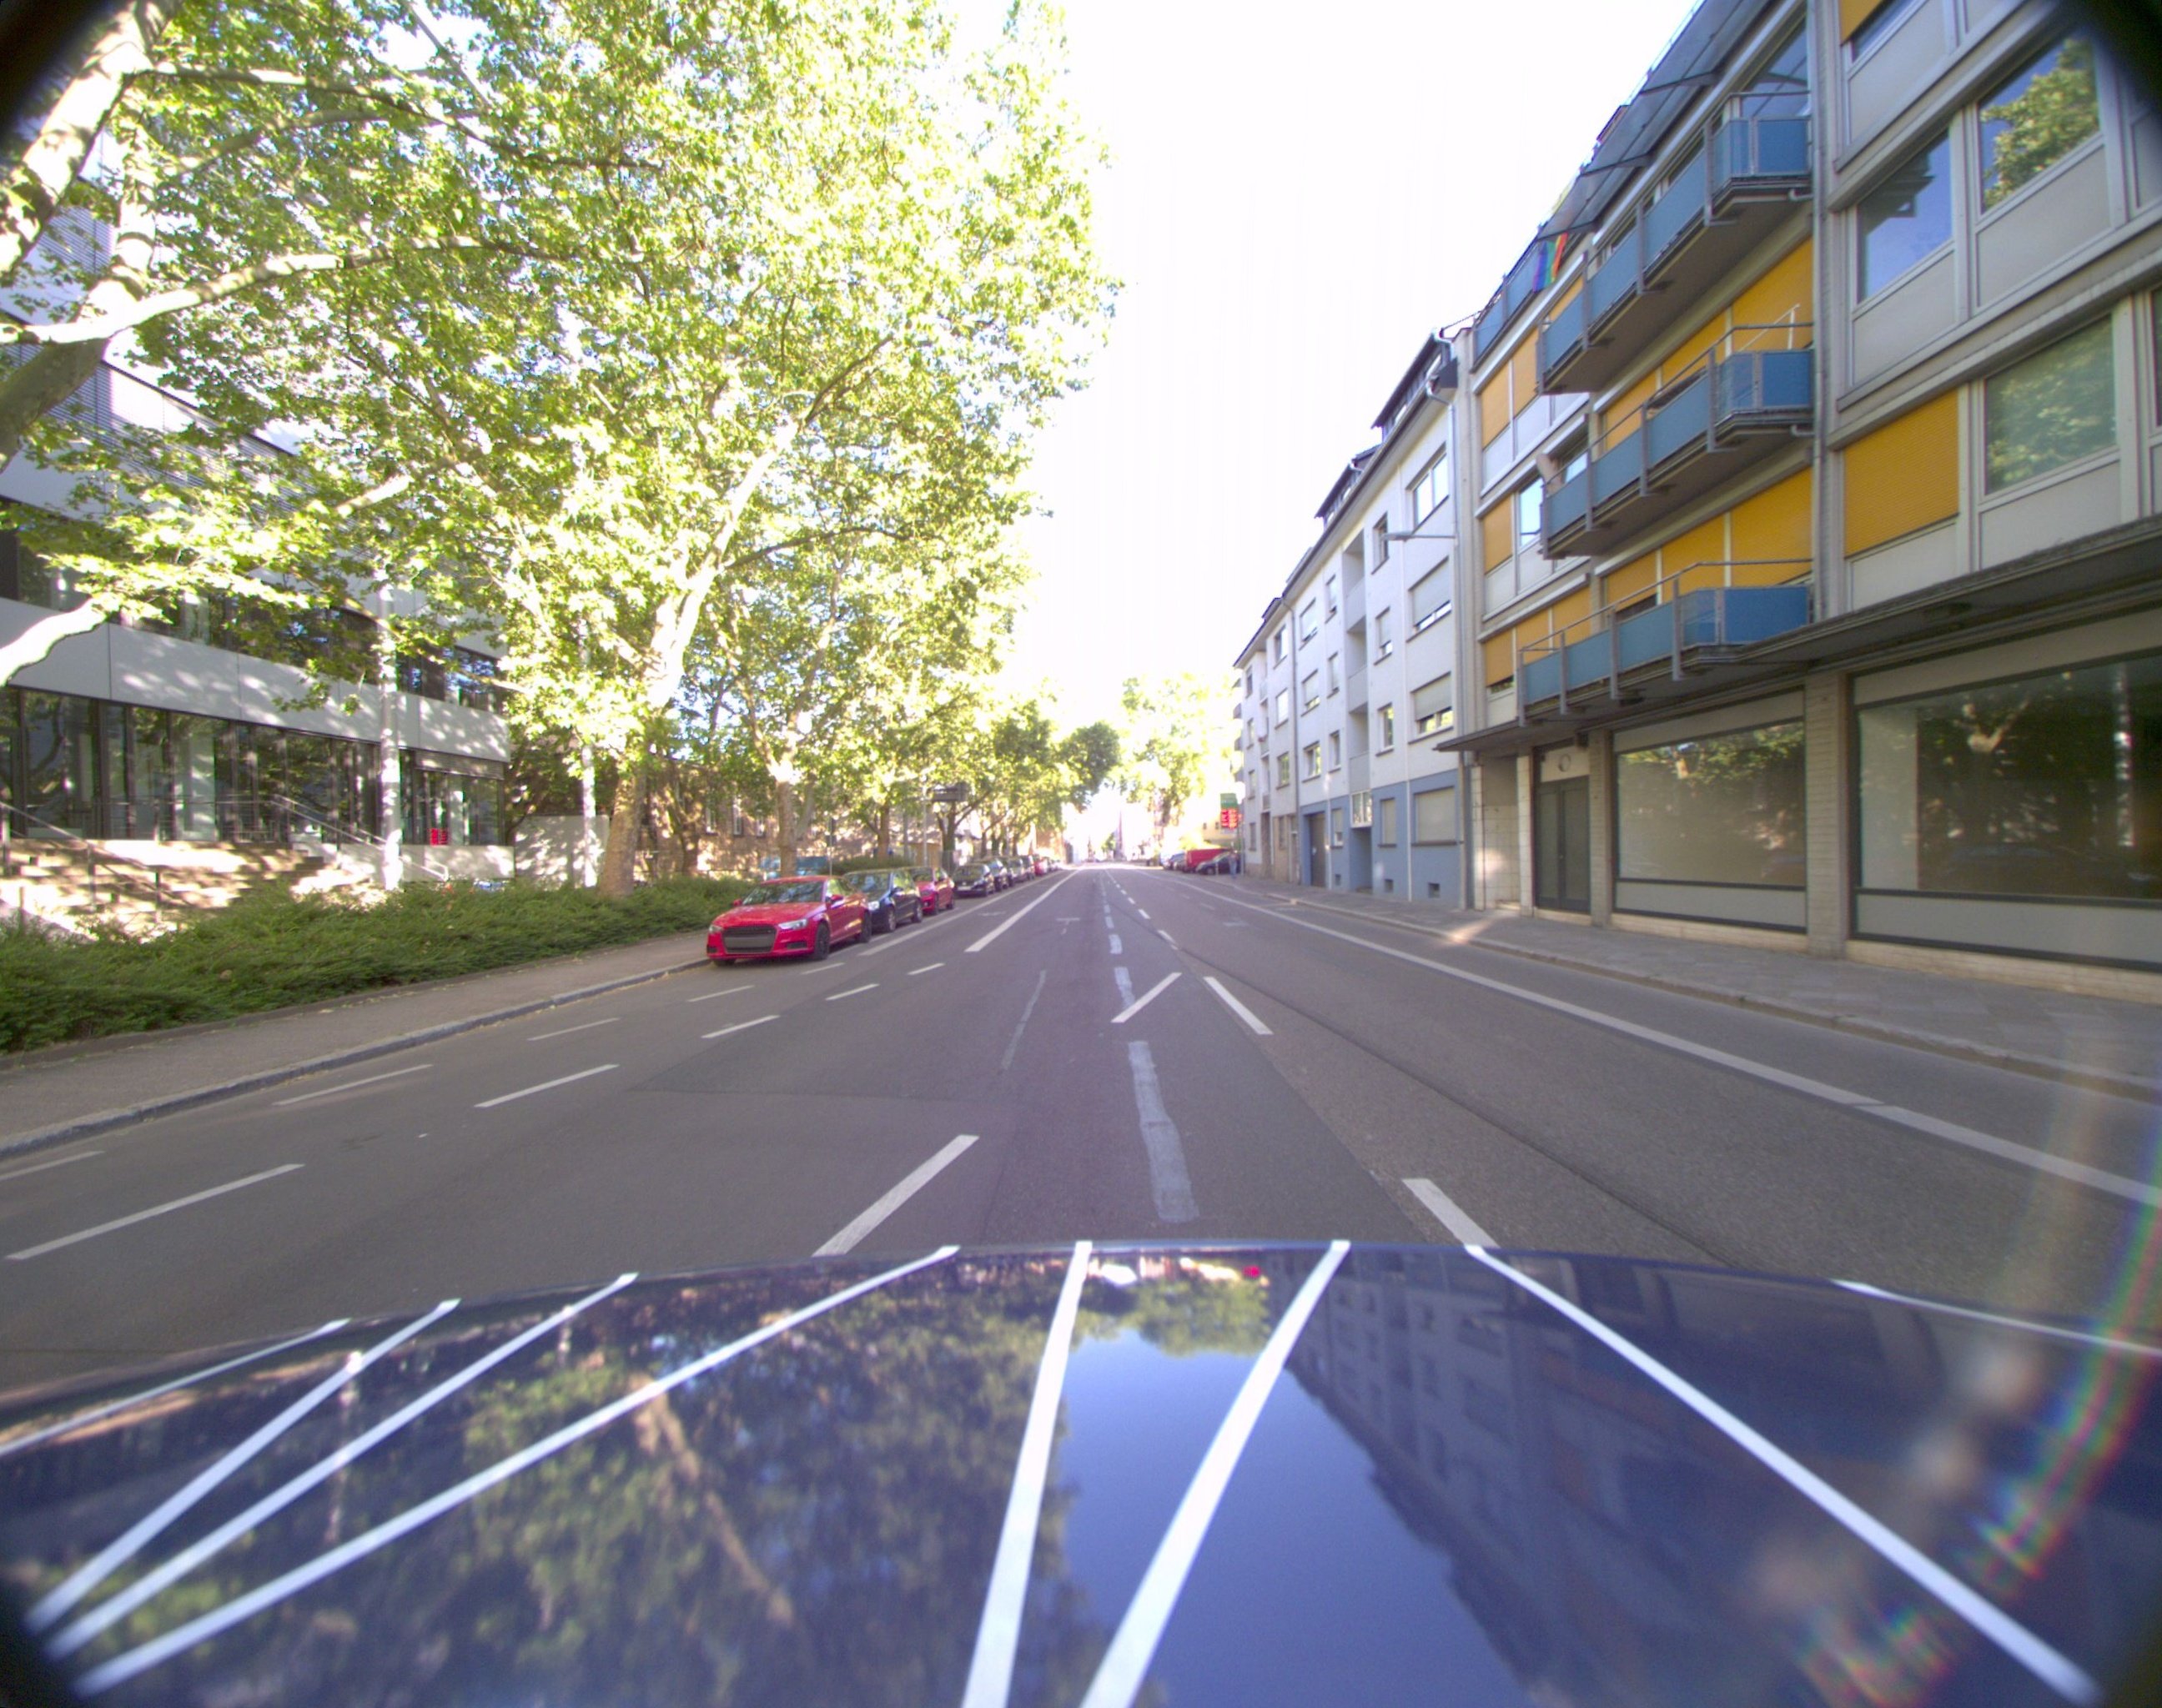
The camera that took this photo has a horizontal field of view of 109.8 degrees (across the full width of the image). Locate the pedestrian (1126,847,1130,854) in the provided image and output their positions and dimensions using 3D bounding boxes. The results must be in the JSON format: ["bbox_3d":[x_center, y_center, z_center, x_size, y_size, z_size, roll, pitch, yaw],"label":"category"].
[{"bbox_3d":[12.492,-0.942,200.498,0.535,2.002,0.769,-1,2,42],"label":"pedestrian"}]

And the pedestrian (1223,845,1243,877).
[{"bbox_3d":[8.604,0.392,43.003,0.896,1.761,0.741,-2,1,1],"label":"pedestrian"}]

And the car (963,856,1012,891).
[{"bbox_3d":[-4.621,0.922,38.203,1.848,1.572,4.232,-2,0,1],"label":"car"}]

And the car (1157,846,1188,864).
[{"bbox_3d":[10.234,0.107,85.260,3.267,1.927,1.693,-2,1,2],"label":"car"}]

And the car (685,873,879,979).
[{"bbox_3d":[-5.110,1.141,13.647,1.775,1.416,4.173,-3,0,0],"label":"car"}]

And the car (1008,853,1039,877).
[{"bbox_3d":[-4.167,0.752,55.504,1.831,1.608,4.177,-1,0,1],"label":"car"}]

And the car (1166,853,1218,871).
[{"bbox_3d":[9.157,0.644,62.945,4.033,1.265,1.906,-2,1,-1],"label":"car"}]

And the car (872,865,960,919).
[{"bbox_3d":[-5.032,1.103,23.708,1.790,1.429,4.000,-1,0,1],"label":"car"}]

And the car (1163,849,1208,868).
[{"bbox_3d":[10.086,0.423,73.357,3.998,1.618,1.702,-2,1,-5],"label":"car"}]

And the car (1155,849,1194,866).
[{"bbox_3d":[9.618,0.378,78.562,3.703,1.573,1.718,-2,1,-5],"label":"car"}]

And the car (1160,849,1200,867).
[{"bbox_3d":[9.882,0.381,75.904,3.658,1.578,1.659,-2,1,-5],"label":"car"}]

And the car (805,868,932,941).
[{"bbox_3d":[-4.999,1.126,18.472,1.813,1.449,4.000,-1,0,2],"label":"car"}]

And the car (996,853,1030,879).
[{"bbox_3d":[-4.439,0.740,50.448,1.798,1.608,4.075,-1,0,1],"label":"car"}]

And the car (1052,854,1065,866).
[{"bbox_3d":[-3.001,0.819,102.835,1.707,1.459,3.809,-1,0,0],"label":"car"}]

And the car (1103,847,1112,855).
[{"bbox_3d":[6.771,-0.796,193.455,1.998,2.002,3.999,-2,1,1],"label":"car"}]

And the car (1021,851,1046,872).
[{"bbox_3d":[-4.105,0.616,66.174,1.876,1.685,4.166,-1,0,1],"label":"car"}]

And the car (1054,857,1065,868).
[{"bbox_3d":[-2.625,1.029,92.334,1.300,1.220,3.241,-1,1,0],"label":"car"}]

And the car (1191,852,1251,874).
[{"bbox_3d":[10.072,0.619,54.840,3.997,1.385,1.781,-2,1,-1],"label":"car"}]

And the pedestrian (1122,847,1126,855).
[{"bbox_3d":[11.270,-0.866,200.883,0.711,1.981,0.613,-3,2,-43],"label":"pedestrian"}]

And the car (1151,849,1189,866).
[{"bbox_3d":[9.489,0.374,80.854,3.728,1.579,1.743,-2,1,-5],"label":"car"}]

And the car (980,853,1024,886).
[{"bbox_3d":[-4.543,0.869,44.187,1.998,1.715,4.262,-2,1,1],"label":"car"}]

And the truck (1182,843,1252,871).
[{"bbox_3d":[10.729,0.238,60.090,5.088,2.009,2.000,-2,1,0],"label":"truck"}]

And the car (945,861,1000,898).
[{"bbox_3d":[-4.675,1.083,33.257,1.745,1.430,4.000,-1,0,1],"label":"car"}]
